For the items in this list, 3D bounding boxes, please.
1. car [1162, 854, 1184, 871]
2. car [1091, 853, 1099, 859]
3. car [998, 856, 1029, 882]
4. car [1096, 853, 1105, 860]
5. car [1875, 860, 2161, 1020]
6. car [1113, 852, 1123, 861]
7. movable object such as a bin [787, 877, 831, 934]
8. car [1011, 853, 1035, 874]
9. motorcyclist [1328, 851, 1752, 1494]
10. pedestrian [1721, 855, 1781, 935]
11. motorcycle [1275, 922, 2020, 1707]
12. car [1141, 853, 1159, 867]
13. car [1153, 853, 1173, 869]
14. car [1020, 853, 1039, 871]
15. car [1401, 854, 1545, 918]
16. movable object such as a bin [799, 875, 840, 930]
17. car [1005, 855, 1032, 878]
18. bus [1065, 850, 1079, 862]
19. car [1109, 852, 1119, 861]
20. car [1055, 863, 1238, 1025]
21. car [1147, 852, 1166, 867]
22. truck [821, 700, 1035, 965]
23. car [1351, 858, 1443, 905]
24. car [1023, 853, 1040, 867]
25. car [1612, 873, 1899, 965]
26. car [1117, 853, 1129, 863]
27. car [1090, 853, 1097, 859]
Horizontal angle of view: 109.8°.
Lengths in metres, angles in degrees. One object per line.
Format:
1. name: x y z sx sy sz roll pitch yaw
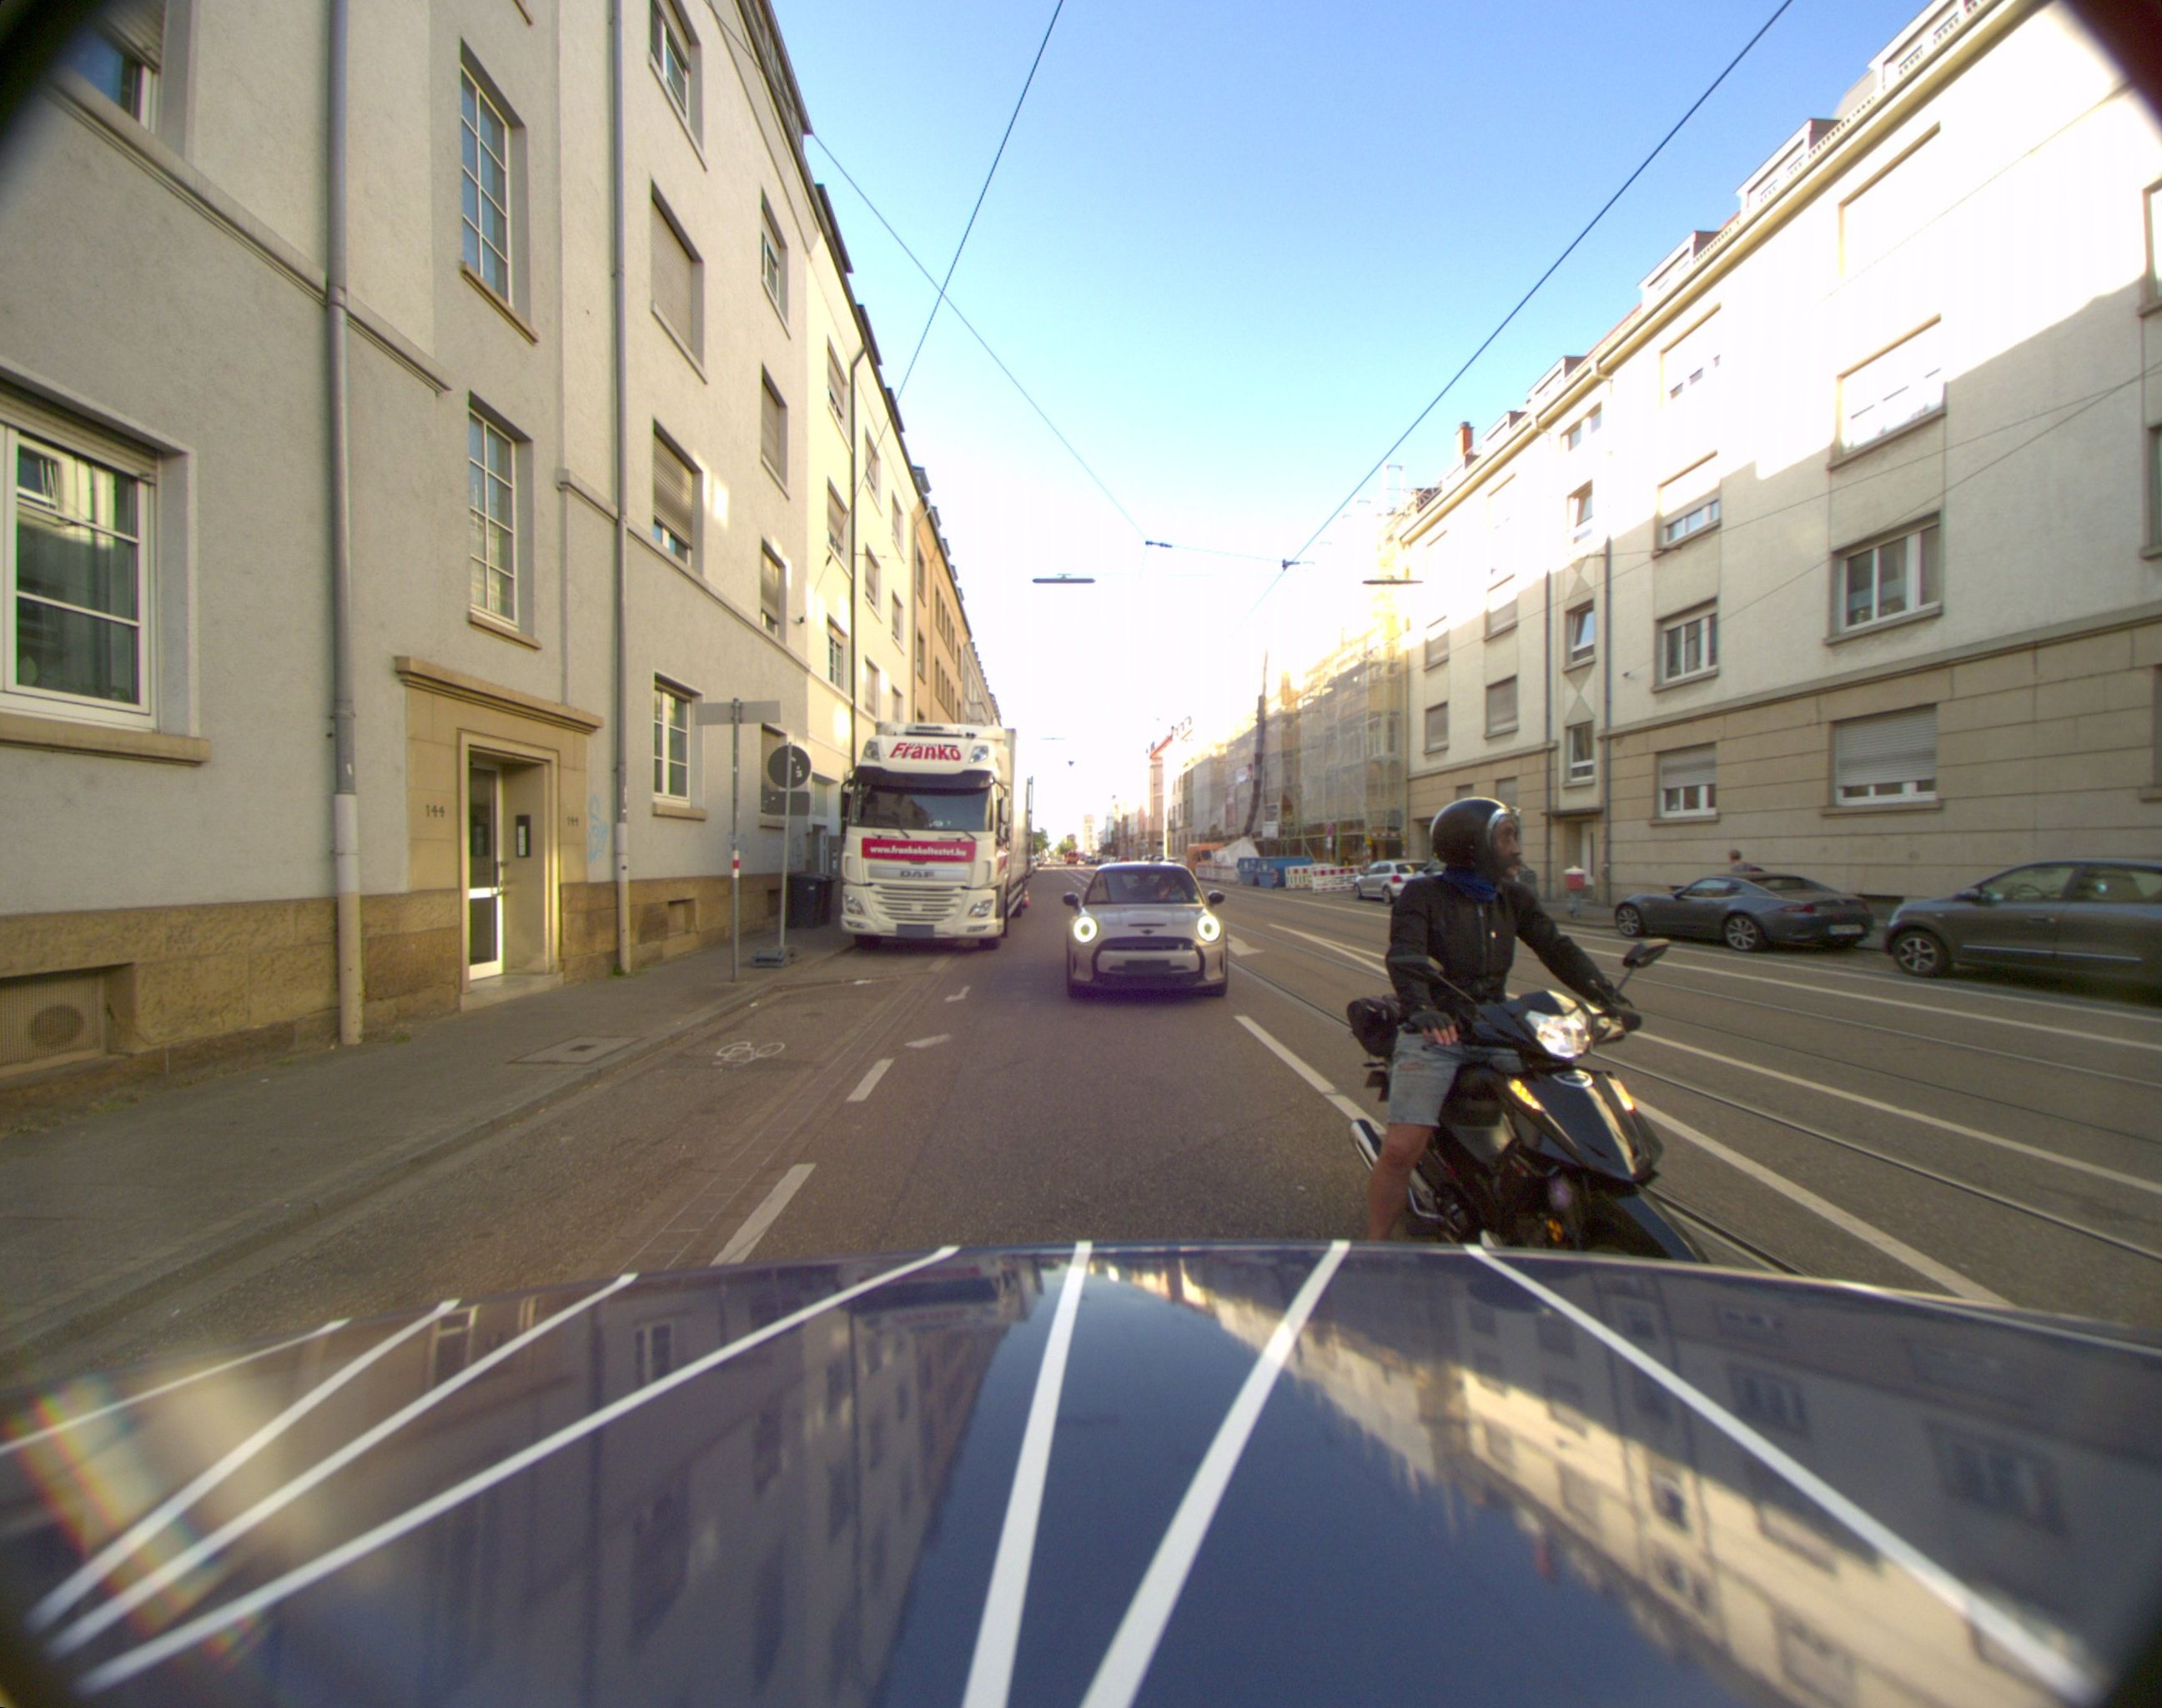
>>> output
1. car: 8.576 0.755 71.108 1.684 1.478 3.966 -2 0 1
2. car: 3.541 0.596 191.742 1.684 1.478 3.965 -2 0 -1
3. car: -4.172 0.892 47.183 1.685 1.522 4.148 -2 0 -3
4. car: 4.263 0.606 167.808 1.684 1.478 3.965 -2 0 -1
5. car: 11.420 0.858 8.315 1.679 1.519 3.539 -1 0 -3
6. car: 6.535 0.456 134.397 1.684 1.478 3.966 -2 0 1
7. movable object such as a bin: -5.380 1.004 15.036 0.666 1.087 0.570 0 1 -2
8. car: -4.507 0.741 59.154 1.685 1.522 4.148 -2 0 -3
9. motorcyclist: 1.312 0.815 2.386 0.791 1.645 0.900 0 1 1
10. pedestrian: 13.296 0.796 15.090 0.570 1.532 0.693 0 1 -2
11. motorcycle: 1.312 0.972 2.515 0.791 1.284 2.273 0 0 1
12. car: 7.938 0.647 87.875 1.684 1.478 3.966 -2 0 1
13. car: 8.270 0.699 76.805 1.684 1.478 3.966 -2 0 1
14. car: -4.852 0.743 72.094 1.685 1.522 4.148 -2 0 -3
15. car: 10.814 0.803 21.326 1.696 1.590 4.206 -1 0 -3
16. movable object such as a bin: -5.396 0.996 15.705 0.666 1.087 0.570 0 1 -2
17. car: -4.299 0.824 52.985 1.685 1.522 4.148 -2 0 -3
18. bus: -2.535 0.516 206.150 2.755 3.095 19.156 0 0 -3
19. car: 5.962 0.435 139.339 1.684 1.478 3.966 -2 0 1
20. car: 0.563 0.892 9.388 1.685 1.454 4.148 -2 0 -3
21. car: 8.249 0.610 83.179 1.684 1.573 3.966 -2 0 1
22. truck: -2.622 -0.323 17.176 2.782 3.903 11.816 0 0 -2
23. car: 10.613 0.878 25.775 1.543 1.404 3.510 -1 0 -3
24. car: -5.347 0.642 82.740 1.685 1.522 4.148 -2 0 -3
25. car: 11.183 0.998 12.977 1.520 1.227 3.685 -1 0 -3
26. car: 6.603 0.615 118.631 1.684 1.478 3.966 -2 0 1
27. car: 3.315 0.575 206.885 1.684 1.478 3.965 -2 0 -1
